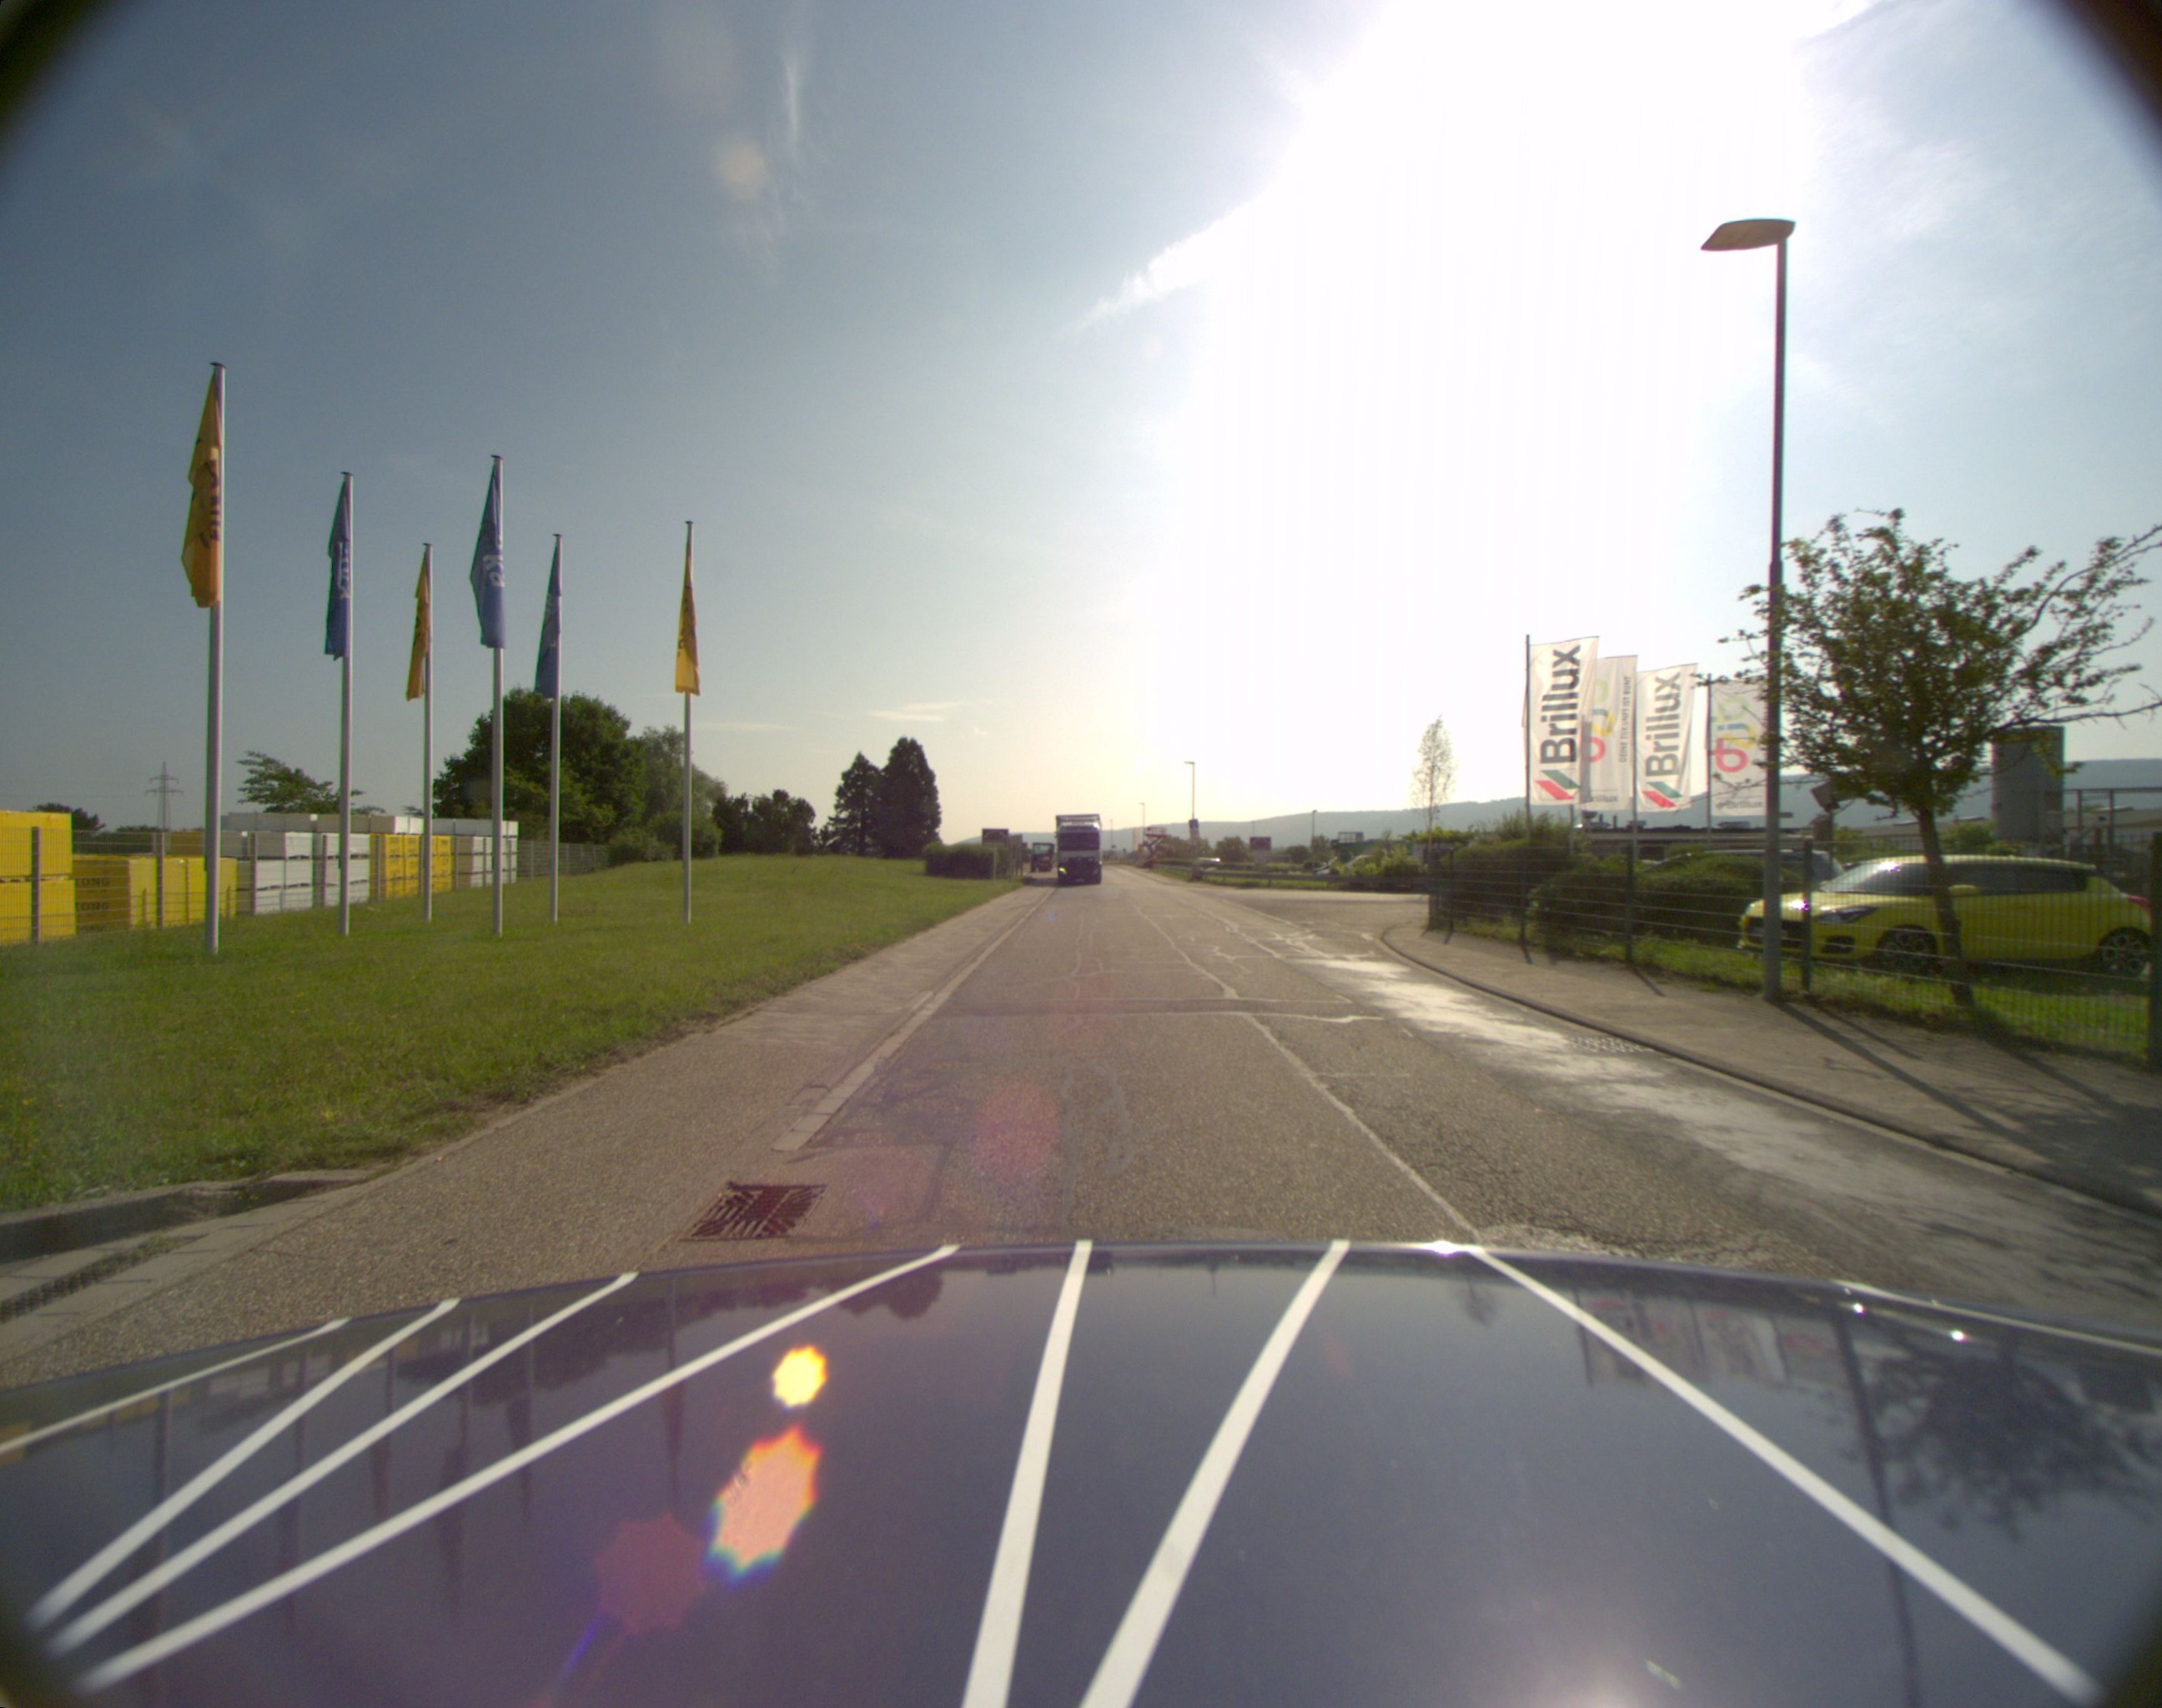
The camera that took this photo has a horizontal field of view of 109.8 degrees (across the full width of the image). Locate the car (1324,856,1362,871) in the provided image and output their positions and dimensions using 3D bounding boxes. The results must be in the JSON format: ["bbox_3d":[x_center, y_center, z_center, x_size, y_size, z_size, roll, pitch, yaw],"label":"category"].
[{"bbox_3d":[28.576,1.034,83.007,3.681,1.512,1.686,1,0,12],"label":"car"}]

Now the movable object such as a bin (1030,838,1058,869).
[{"bbox_3d":[-3.852,-0.042,78.460,2.436,2.994,5.750,1,0,-7],"label":"movable object such as a bin"}]

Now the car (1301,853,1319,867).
[{"bbox_3d":[34.524,0.869,114.832,1.997,2.002,4.160,1,0,9],"label":"car"}]

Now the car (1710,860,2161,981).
[{"bbox_3d":[10.948,0.776,9.747,4.174,1.360,1.868,0,0,1],"label":"car"}]

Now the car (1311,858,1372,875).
[{"bbox_3d":[21.847,1.044,63.764,4.686,1.212,1.834,1,-1,19],"label":"car"}]

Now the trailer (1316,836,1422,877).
[{"bbox_3d":[19.324,0.146,51.385,6.315,2.589,2.857,2,0,15],"label":"trailer"}]

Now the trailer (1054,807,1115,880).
[{"bbox_3d":[0.299,-0.729,51.933,3.497,4.183,14.231,-2,1,1],"label":"trailer"}]

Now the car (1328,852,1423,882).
[{"bbox_3d":[18.513,0.789,47.956,5.272,1.696,2.001,1,0,7],"label":"car"}]

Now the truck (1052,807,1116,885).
[{"bbox_3d":[0.199,-0.498,44.870,3.395,4.183,6.098,-2,1,1],"label":"truck"}]

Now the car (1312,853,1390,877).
[{"bbox_3d":[19.379,0.777,54.608,5.131,1.525,2.181,1,-1,19],"label":"car"}]

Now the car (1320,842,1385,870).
[{"bbox_3d":[24.409,0.165,68.429,5.394,2.358,2.298,1,-1,19],"label":"car"}]

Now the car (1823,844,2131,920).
[{"bbox_3d":[22.680,0.643,19.554,4.654,1.742,2.155,0,0,22],"label":"car"}]

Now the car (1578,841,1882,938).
[{"bbox_3d":[13.359,0.632,15.941,1.961,1.686,4.499,-3,1,-35],"label":"car"}]
